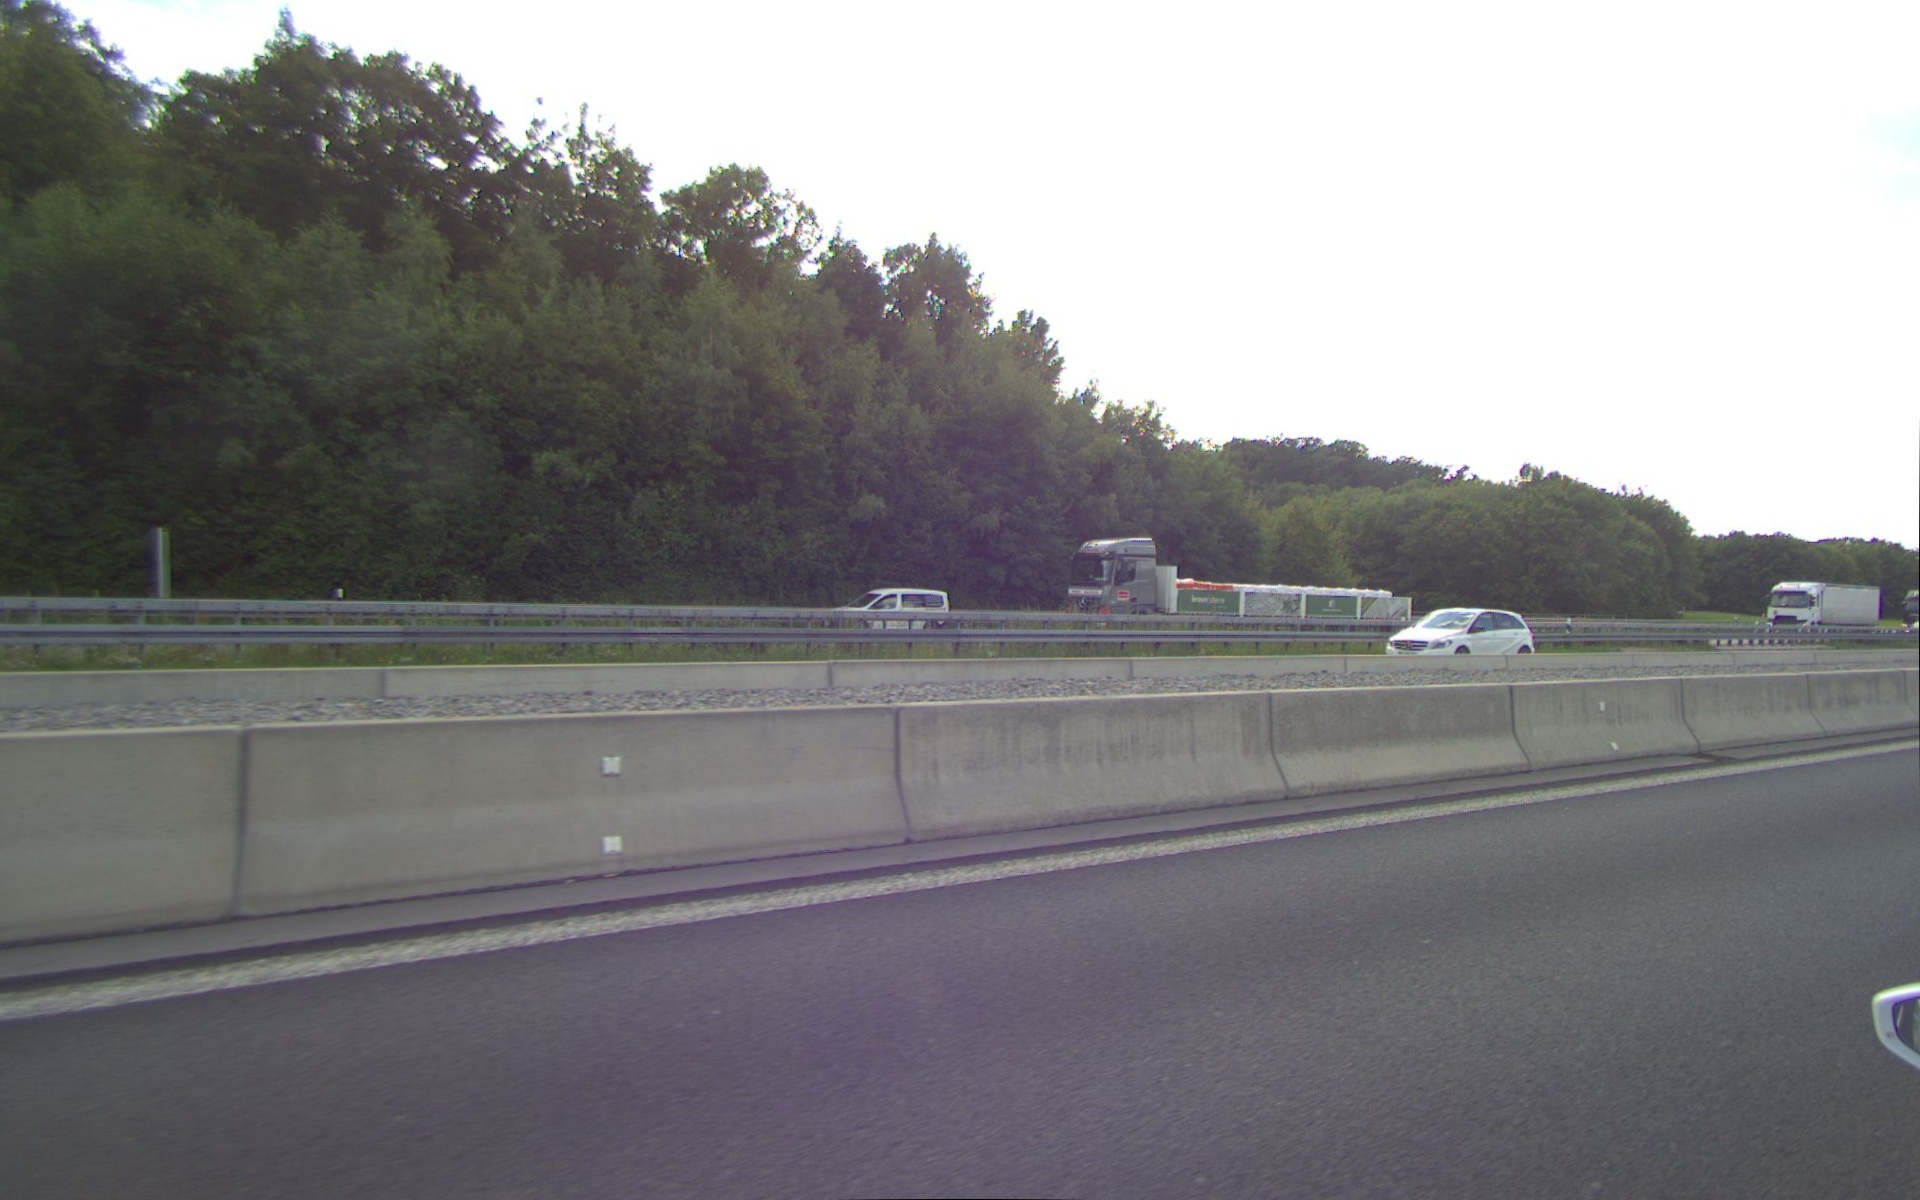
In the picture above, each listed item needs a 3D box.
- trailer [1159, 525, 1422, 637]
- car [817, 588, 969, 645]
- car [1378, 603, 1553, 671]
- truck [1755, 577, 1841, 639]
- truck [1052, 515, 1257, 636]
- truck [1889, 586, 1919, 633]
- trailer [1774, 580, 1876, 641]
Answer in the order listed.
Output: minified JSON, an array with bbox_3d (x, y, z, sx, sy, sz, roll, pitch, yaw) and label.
[{"bbox_3d":[13.216,-0.563,39.333,12.056,3.858,2.797,1,0,-33],"label":"trailer"},{"bbox_3d":[-2.428,0.614,36.899,5.198,1.879,1.985,3,-1,-29],"label":"car"},{"bbox_3d":[12.852,0.958,25.464,4.713,1.548,1.704,3,-1,-31],"label":"car"},{"bbox_3d":[62.796,0.628,75.252,6.683,4.349,3.298,3,-1,-35],"label":"truck"},{"bbox_3d":[6.887,-0.737,35.233,7.053,3.878,2.793,1,0,-33],"label":"truck"},{"bbox_3d":[89.540,0.953,93.135,10.364,4.021,2.882,3,-1,-36],"label":"truck"},{"bbox_3d":[68.372,0.905,79.245,12.023,4.349,3.299,3,-1,-36],"label":"trailer"}]
